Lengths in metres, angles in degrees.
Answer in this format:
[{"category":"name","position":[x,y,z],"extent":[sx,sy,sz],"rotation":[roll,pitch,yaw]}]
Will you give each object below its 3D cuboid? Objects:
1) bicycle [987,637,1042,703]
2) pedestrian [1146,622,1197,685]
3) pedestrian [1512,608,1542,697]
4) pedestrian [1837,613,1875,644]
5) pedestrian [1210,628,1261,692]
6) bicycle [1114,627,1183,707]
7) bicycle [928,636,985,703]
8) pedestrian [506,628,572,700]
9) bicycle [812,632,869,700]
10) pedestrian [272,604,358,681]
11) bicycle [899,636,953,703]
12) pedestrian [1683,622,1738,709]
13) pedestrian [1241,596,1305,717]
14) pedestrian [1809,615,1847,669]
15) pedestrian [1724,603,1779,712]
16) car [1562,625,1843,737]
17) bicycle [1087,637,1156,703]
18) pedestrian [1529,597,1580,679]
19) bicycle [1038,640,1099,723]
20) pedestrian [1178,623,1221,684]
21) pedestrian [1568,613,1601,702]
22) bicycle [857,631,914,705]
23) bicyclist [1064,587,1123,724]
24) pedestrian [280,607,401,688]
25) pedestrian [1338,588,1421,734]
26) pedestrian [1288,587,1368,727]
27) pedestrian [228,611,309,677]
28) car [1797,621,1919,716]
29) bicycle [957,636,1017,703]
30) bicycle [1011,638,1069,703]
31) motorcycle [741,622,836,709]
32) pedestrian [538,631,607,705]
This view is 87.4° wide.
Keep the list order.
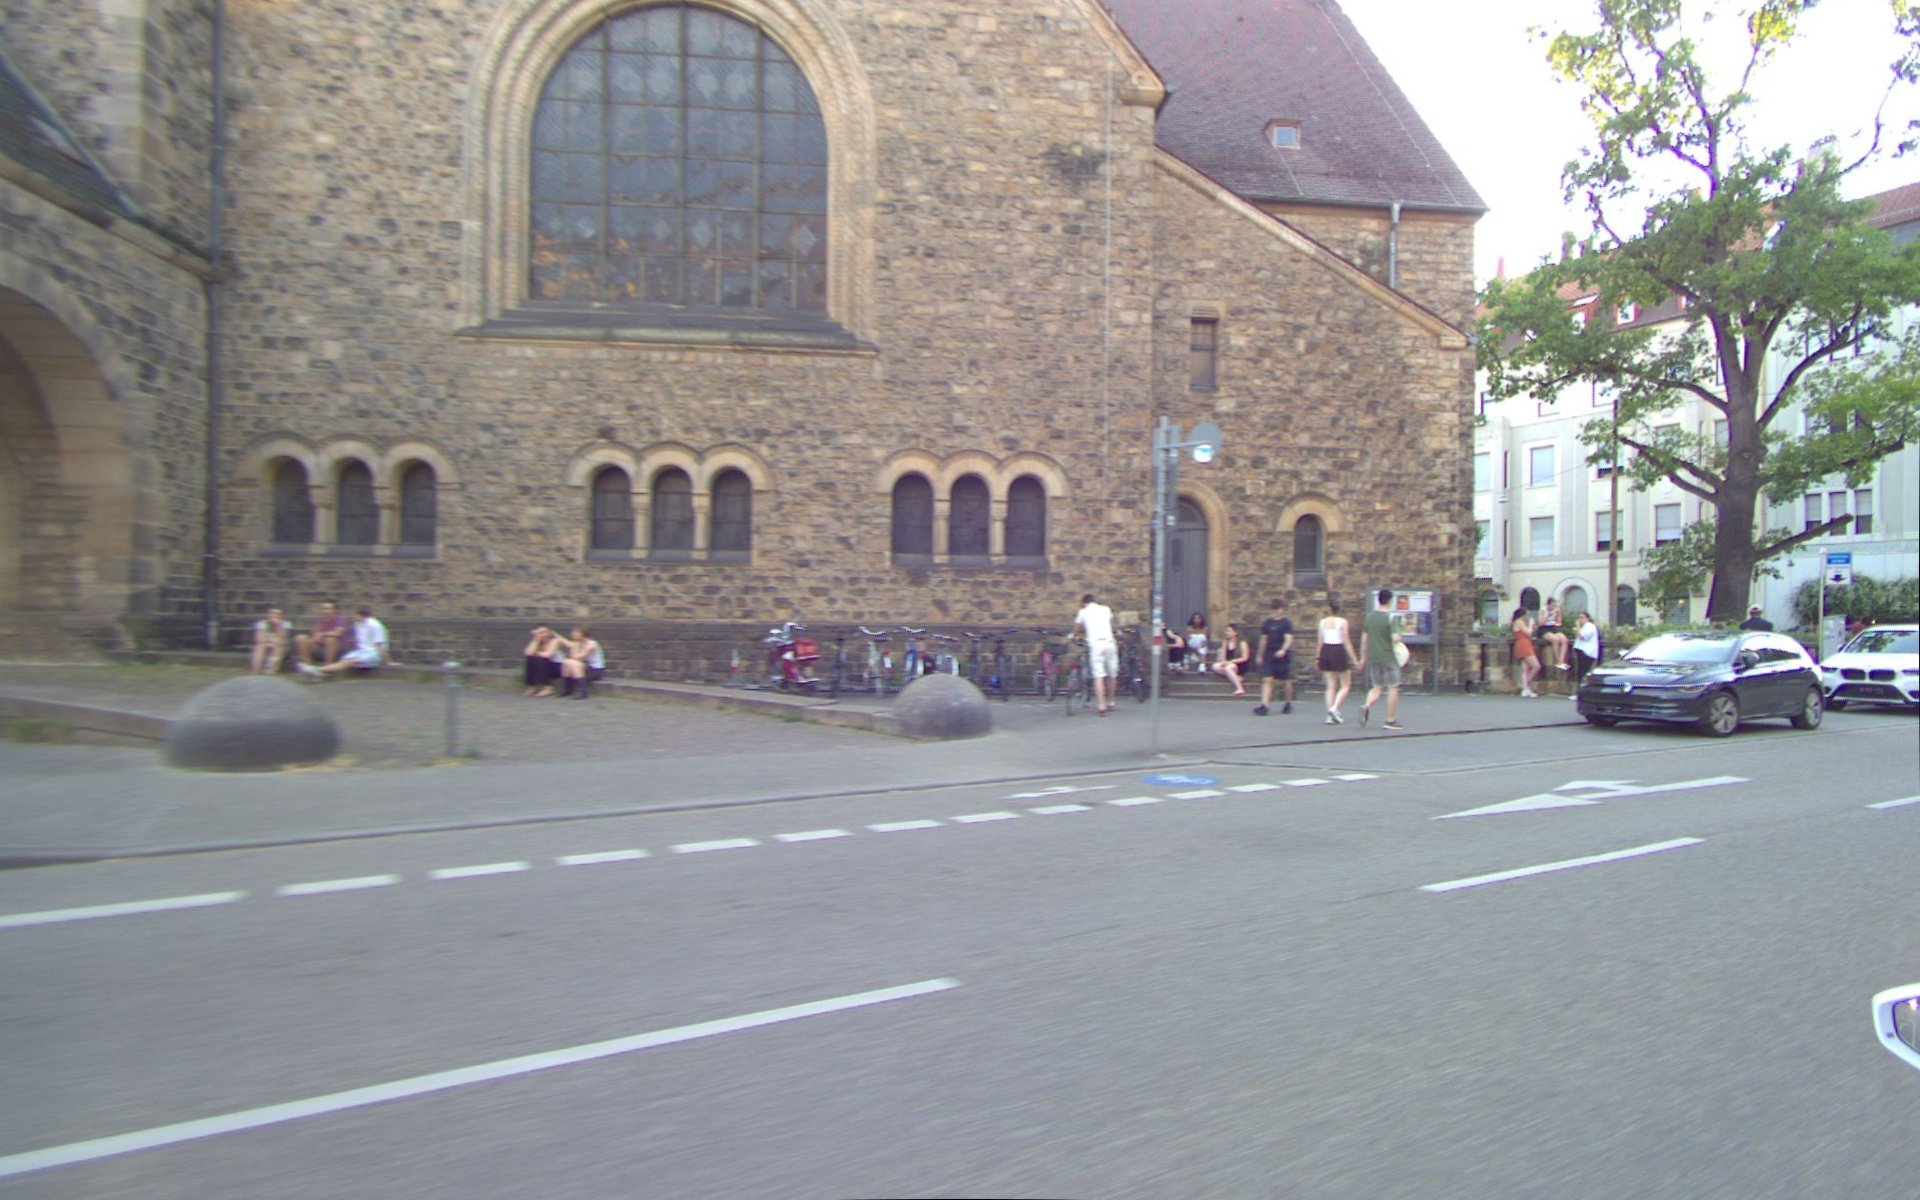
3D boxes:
[{"category":"bicycle","position":[0.884,1.137,16.639],"extent":[0.364,1.002,1.879],"rotation":[1,-1,-14]},{"category":"pedestrian","position":[3.684,0.918,17.493],"extent":[0.726,1.062,0.519],"rotation":[0,-1,30]},{"category":"pedestrian","position":[11.020,1.015,19.524],"extent":[0.407,1.697,0.548],"rotation":[1,-1,21]},{"category":"pedestrian","position":[28.505,0.912,31.962],"extent":[0.827,0.993,0.702],"rotation":[1,-2,-32]},{"category":"pedestrian","position":[4.756,1.031,17.332],"extent":[0.688,1.070,0.516],"rotation":[1,-1,-13]},{"category":"bicycle","position":[3.138,1.098,16.877],"extent":[0.430,1.265,1.728],"rotation":[1,-1,-15]},{"category":"bicycle","position":[-0.081,1.114,16.473],"extent":[0.458,1.002,2.002],"rotation":[1,-1,-14]},{"category":"pedestrian","position":[-5.960,0.891,14.247],"extent":[0.551,0.980,0.649],"rotation":[0,-1,27]},{"category":"bicycle","position":[-1.954,1.036,16.195],"extent":[0.576,1.002,2.001],"rotation":[1,-1,-16]},{"category":"pedestrian","position":[-9.456,0.619,14.742],"extent":[0.635,1.090,0.830],"rotation":[0,-1,21]},{"category":"bicycle","position":[-0.578,1.105,16.399],"extent":[0.458,1.002,2.002],"rotation":[1,-1,-14]},{"category":"pedestrian","position":[14.105,1.217,18.879],"extent":[0.830,1.572,0.579],"rotation":[1,0,-33]},{"category":"pedestrian","position":[4.688,0.833,15.038],"extent":[0.705,1.748,0.689],"rotation":[0,-2,39]},{"category":"pedestrian","position":[28.163,1.353,32.592],"extent":[0.827,1.744,0.702],"rotation":[1,-2,-32]},{"category":"pedestrian","position":[14.477,1.042,18.371],"extent":[0.794,1.930,0.579],"rotation":[1,-1,-33]},{"category":"car","position":[11.094,1.134,14.960],"extent":[4.263,1.454,1.776],"rotation":[2,-2,-29]},{"category":"bicycle","position":[2.672,1.141,16.800],"extent":[0.434,1.002,1.879],"rotation":[1,-1,-14]},{"category":"pedestrian","position":[11.658,0.740,19.698],"extent":[0.574,1.566,0.652],"rotation":[1,-1,-6]},{"category":"bicycle","position":[1.606,1.140,14.592],"extent":[0.542,1.026,2.189],"rotation":[1,0,15]},{"category":"pedestrian","position":[4.272,0.949,17.913],"extent":[0.596,1.062,0.498],"rotation":[1,-1,-9]},{"category":"pedestrian","position":[11.819,1.071,19.012],"extent":[0.407,1.643,0.548],"rotation":[1,-1,21]},{"category":"bicycle","position":[-1.230,1.068,16.305],"extent":[0.576,1.002,2.002],"rotation":[1,1,-14]},{"category":"bicyclist","position":[1.945,0.780,14.560],"extent":[0.693,1.905,0.943],"rotation":[1,0,15]},{"category":"pedestrian","position":[-8.853,0.666,14.404],"extent":[0.672,1.109,1.333],"rotation":[0,-1,20]},{"category":"pedestrian","position":[5.659,0.802,13.549],"extent":[0.882,1.904,0.643],"rotation":[1,-1,-33]},{"category":"pedestrian","position":[5.132,0.784,13.999],"extent":[0.978,1.881,0.569],"rotation":[1,-1,-33]},{"category":"pedestrian","position":[-10.150,0.642,14.757],"extent":[0.635,0.928,0.740],"rotation":[0,-1,21]},{"category":"car","position":[17.893,1.244,19.017],"extent":[4.419,1.613,1.861],"rotation":[2,-2,-32]},{"category":"bicycle","position":[0.416,1.118,16.575],"extent":[0.458,1.002,1.985],"rotation":[1,-1,-14]},{"category":"bicycle","position":[1.307,1.143,16.688],"extent":[0.364,1.002,1.879],"rotation":[1,-1,-15]},{"category":"motorcycle","position":[-2.695,0.961,15.539],"extent":[0.811,1.141,2.407],"rotation":[1,1,-25]},{"category":"pedestrian","position":[-5.407,0.933,14.025],"extent":[0.551,1.004,0.695],"rotation":[0,-1,27]}]
